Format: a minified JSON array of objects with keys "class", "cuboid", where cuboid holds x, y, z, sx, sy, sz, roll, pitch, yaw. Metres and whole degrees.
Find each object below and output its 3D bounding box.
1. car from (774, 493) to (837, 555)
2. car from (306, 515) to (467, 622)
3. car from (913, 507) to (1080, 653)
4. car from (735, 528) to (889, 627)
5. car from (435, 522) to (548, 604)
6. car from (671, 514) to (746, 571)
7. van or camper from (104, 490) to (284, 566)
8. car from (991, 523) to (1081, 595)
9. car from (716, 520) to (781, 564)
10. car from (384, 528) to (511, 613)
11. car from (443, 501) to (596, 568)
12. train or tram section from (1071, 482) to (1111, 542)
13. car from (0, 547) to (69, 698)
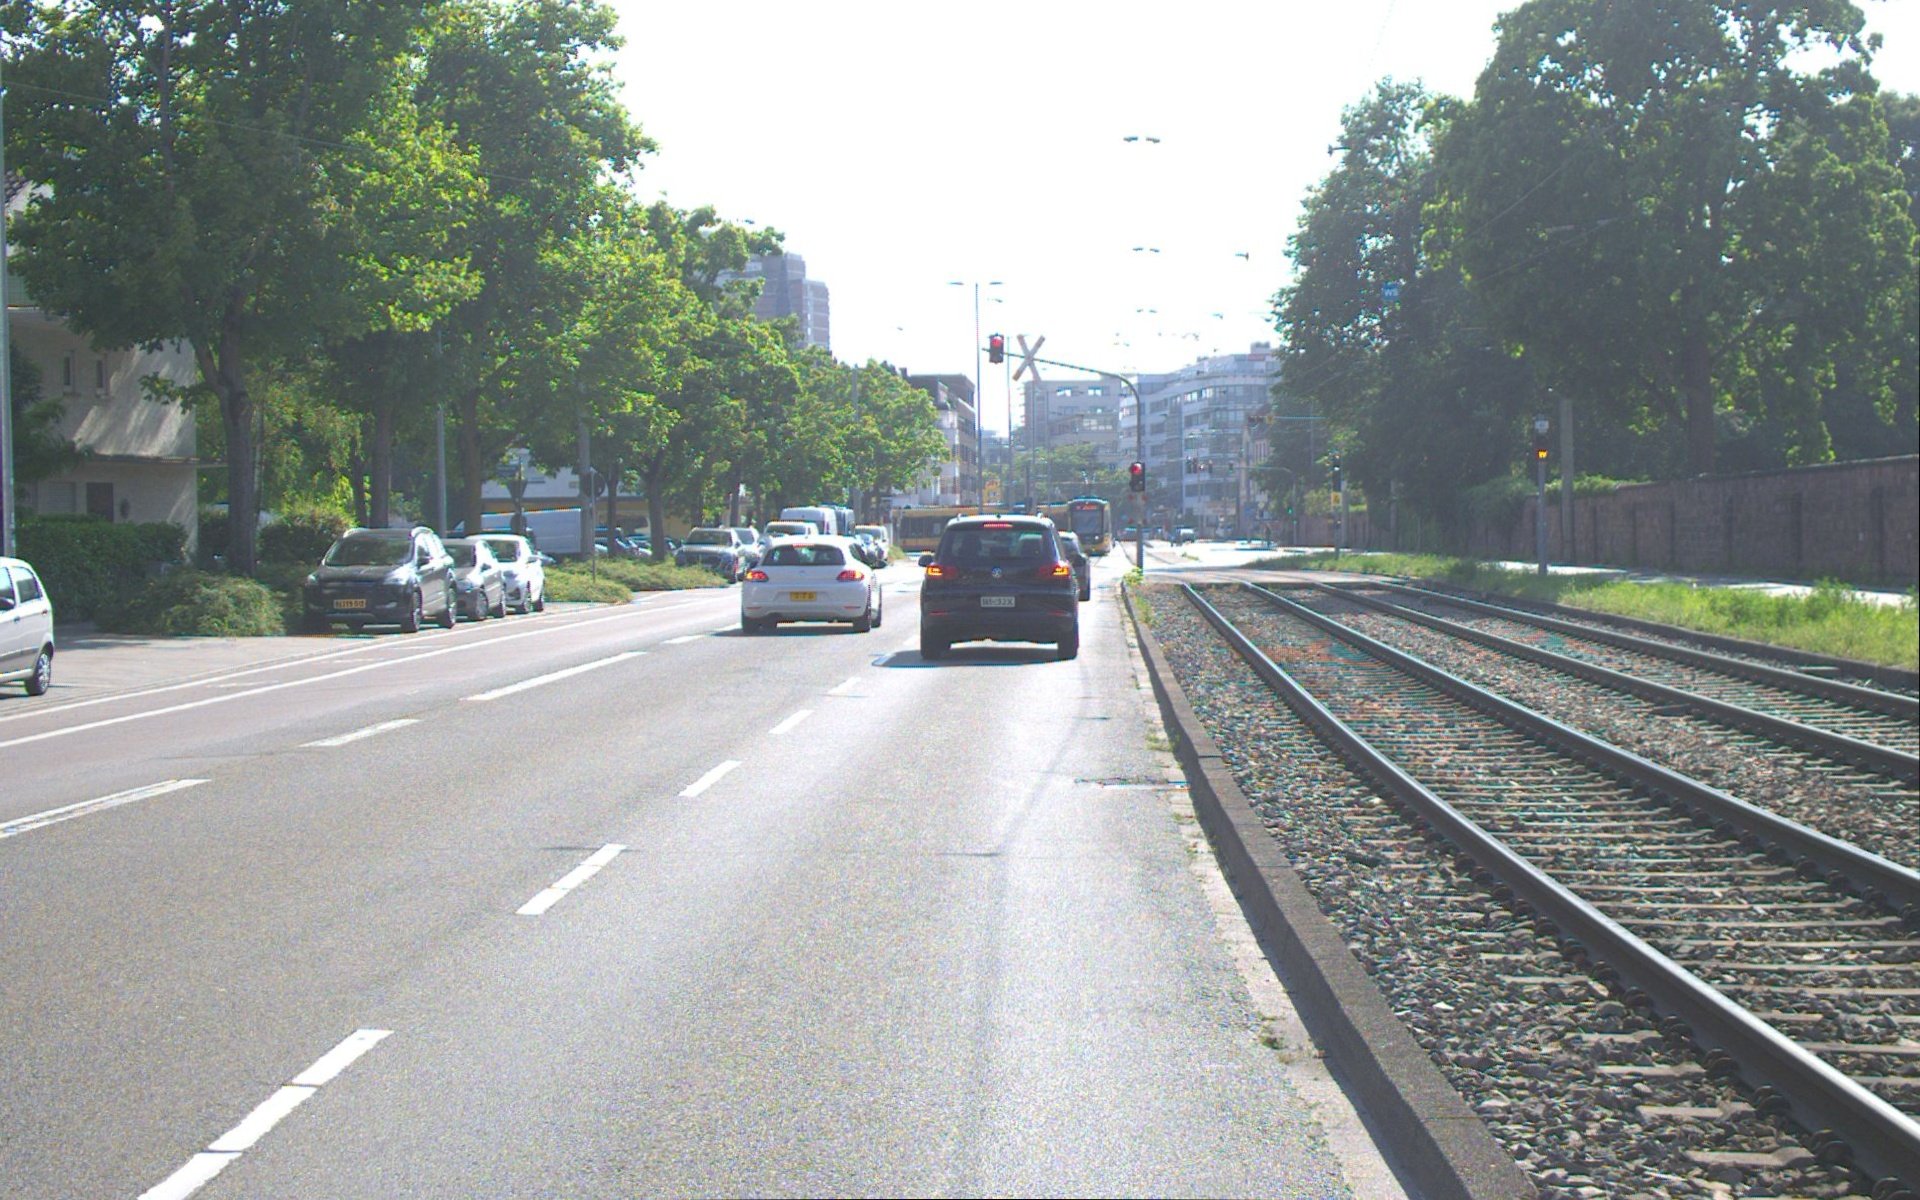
[{"class":"car","cuboid":[-6.061,-3.013,135.676,1.864,2.339,4.984,-1,1,4]},{"class":"car","cuboid":[-9.502,-0.561,57.289,1.712,1.688,4.422,-1,1,3]},{"class":"car","cuboid":[0.477,-0.265,40.544,1.811,1.639,4.000,0,1,3]},{"class":"car","cuboid":[-2.090,-0.351,49.583,1.865,1.343,4.000,0,2,3]},{"class":"car","cuboid":[-9.337,-0.761,68.716,1.601,1.545,3.894,1,2,2]},{"class":"car","cuboid":[-7.727,-1.787,105.887,1.732,1.652,4.000,-1,1,4]},{"class":"van or camper","cuboid":[-30.007,-2.824,134.840,6.464,2.858,2.307,0,1,4]},{"class":"car","cuboid":[1.627,-0.892,72.698,1.811,1.444,4.000,1,2,2]},{"class":"car","cuboid":[-7.227,-1.998,117.855,1.732,1.384,3.735,-1,2,4]},{"class":"car","cuboid":[-9.354,-0.565,62.995,1.677,1.463,3.969,-1,1,1]},{"class":"car","cuboid":[-16.570,-2.467,129.403,5.376,2.415,2.087,-1,1,3]},{"class":"train or tram section","cuboid":[8.014,-5.380,209.572,2.327,3.558,8.900,-1,1,3]},{"class":"car","cuboid":[-10.603,0.205,35.734,1.601,1.489,3.509,4,1,2]}]
